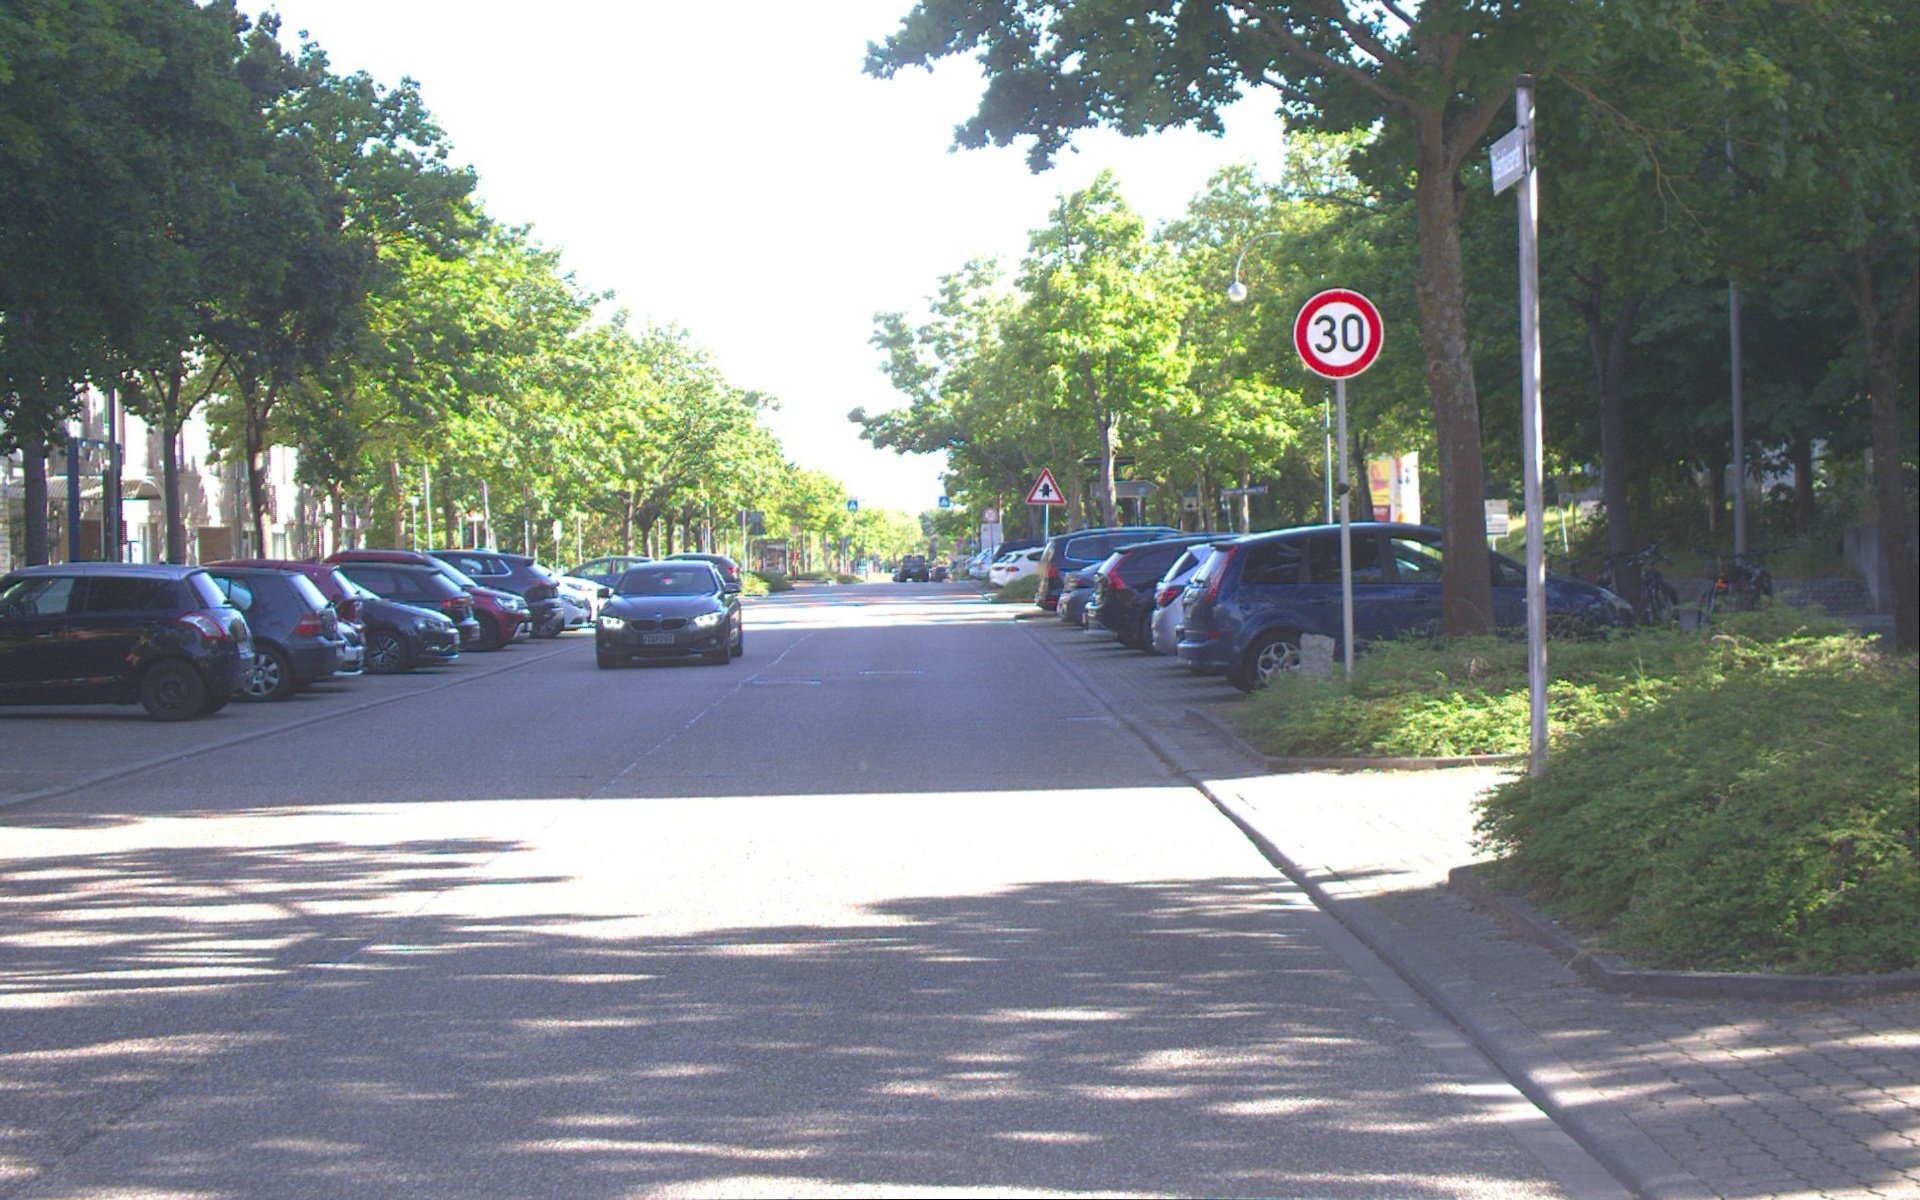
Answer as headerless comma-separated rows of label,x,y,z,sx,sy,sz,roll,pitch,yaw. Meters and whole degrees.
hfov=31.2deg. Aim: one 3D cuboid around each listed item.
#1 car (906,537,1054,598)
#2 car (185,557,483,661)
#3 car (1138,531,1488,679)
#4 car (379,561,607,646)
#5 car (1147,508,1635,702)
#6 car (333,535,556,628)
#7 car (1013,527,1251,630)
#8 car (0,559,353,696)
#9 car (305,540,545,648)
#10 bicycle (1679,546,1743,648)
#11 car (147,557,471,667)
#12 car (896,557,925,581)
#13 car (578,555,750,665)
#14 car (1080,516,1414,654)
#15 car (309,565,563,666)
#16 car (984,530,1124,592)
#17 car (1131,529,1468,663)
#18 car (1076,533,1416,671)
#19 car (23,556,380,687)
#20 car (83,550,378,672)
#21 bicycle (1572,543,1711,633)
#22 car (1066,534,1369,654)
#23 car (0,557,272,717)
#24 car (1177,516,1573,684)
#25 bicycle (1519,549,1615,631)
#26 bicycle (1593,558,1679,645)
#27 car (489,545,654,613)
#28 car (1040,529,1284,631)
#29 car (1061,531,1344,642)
car,0.548,-0.929,97.813,3.986,1.619,2.000,-1,1,-5
car,-8.690,0.117,47.995,3.986,1.401,1.606,0,0,-6
car,3.919,0.045,38.547,3.635,1.462,1.633,-2,1,-3
car,-8.461,0.055,62.558,3.892,1.459,1.858,-1,1,-1
car,4.021,0.032,32.518,4.267,1.628,1.858,-2,1,-3
car,-10.025,-0.373,67.028,3.987,1.648,1.860,-2,1,2
car,2.992,-0.388,60.335,3.892,1.650,1.858,-2,1,-5
car,-8.684,0.287,37.661,3.762,1.440,1.631,0,0,0
car,-8.576,-0.094,55.327,3.541,1.651,1.761,-1,0,1
bicycle,8.040,-0.048,36.867,0.379,1.043,1.884,-3,1,5
car,-8.562,0.148,45.442,3.986,1.408,1.666,0,0,-2
car,-3.330,-2.109,232.389,1.933,1.592,4.366,-1,1,-1
car,-4.049,0.111,47.606,1.813,1.410,4.107,-1,1,3
car,3.800,-0.211,45.699,4.249,1.549,1.920,-3,1,4
car,-8.961,0.266,58.974,3.987,1.581,1.765,-2,0,3
car,2.839,-1.195,104.297,3.986,1.786,2.000,-1,1,-5
car,4.100,-0.058,42.008,3.866,1.463,1.967,-2,1,0
car,3.373,0.012,40.988,3.752,1.444,1.880,-3,1,-3
car,-8.873,0.243,40.431,3.865,1.452,1.755,0,2,-3
car,-9.052,0.126,42.859,3.418,1.458,1.697,0,2,-5
bicycle,8.349,-0.146,42.154,0.379,1.074,1.786,-2,1,-42
car,3.638,-0.106,48.931,4.043,1.585,1.550,-1,1,-7
car,-8.664,0.347,33.104,3.732,1.459,1.677,-1,1,-1
car,4.314,-0.022,36.179,3.882,1.521,1.896,-2,3,0
bicycle,8.152,-0.145,46.209,0.379,1.074,1.788,-1,1,-21
bicycle,8.545,0.012,43.506,0.379,1.074,1.788,-1,1,-12
car,-10.123,-0.559,89.799,3.987,1.648,1.860,-2,1,2
car,3.512,-0.352,60.189,4.043,1.576,1.641,-3,1,-3
car,3.643,-0.208,51.952,4.043,1.486,1.550,-3,1,-3
